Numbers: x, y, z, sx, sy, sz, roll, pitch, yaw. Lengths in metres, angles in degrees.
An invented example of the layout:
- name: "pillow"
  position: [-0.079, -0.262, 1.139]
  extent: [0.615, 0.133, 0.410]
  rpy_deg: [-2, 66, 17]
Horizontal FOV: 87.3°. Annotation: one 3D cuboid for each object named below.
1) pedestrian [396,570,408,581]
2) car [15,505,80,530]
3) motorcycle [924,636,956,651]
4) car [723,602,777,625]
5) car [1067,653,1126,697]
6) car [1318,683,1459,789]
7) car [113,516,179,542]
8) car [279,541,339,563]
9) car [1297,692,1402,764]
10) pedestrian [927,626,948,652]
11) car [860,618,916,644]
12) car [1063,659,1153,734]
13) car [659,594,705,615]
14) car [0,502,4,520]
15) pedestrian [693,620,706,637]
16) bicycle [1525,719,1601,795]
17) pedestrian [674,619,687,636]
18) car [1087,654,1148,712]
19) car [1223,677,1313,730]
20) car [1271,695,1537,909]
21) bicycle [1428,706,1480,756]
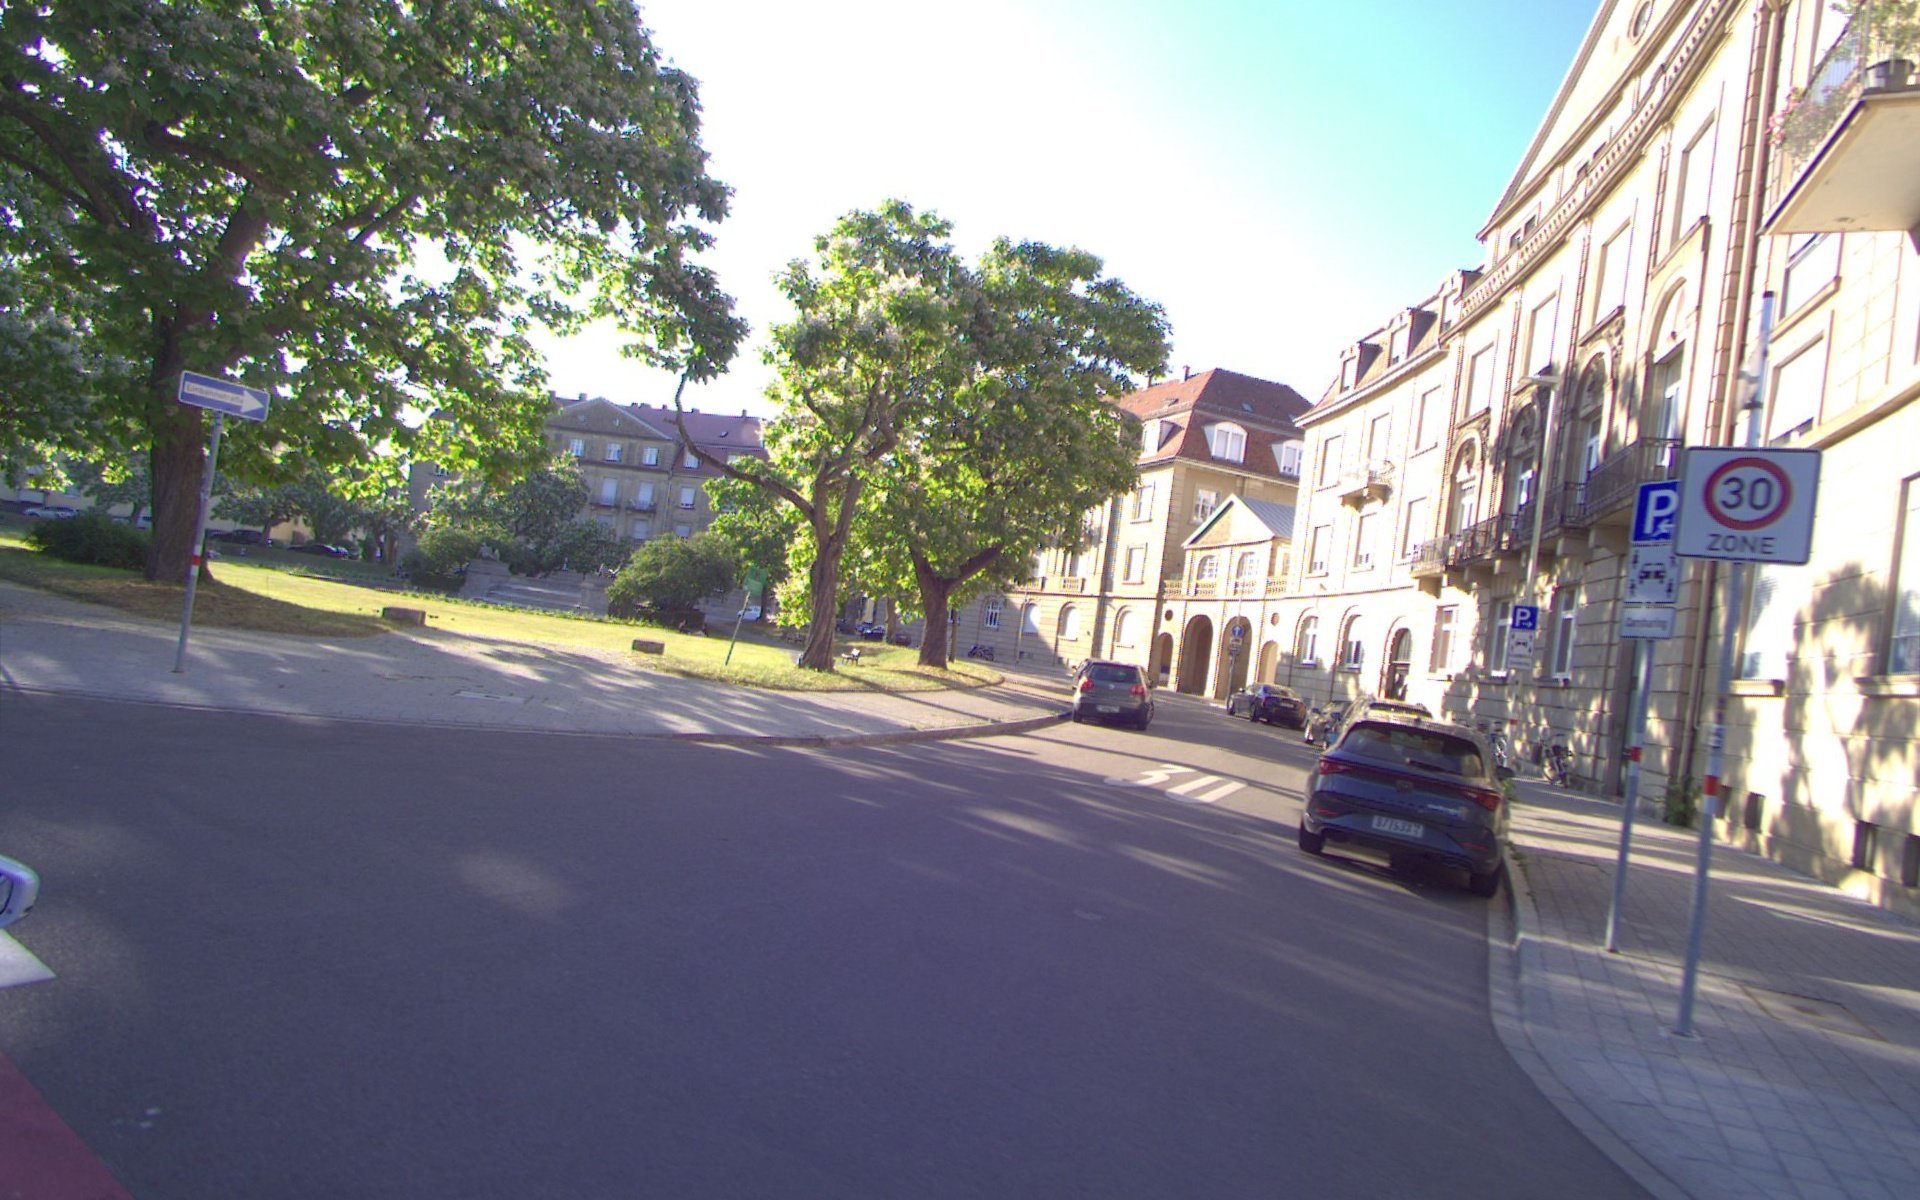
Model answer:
- name: "pedestrian"
  position: [-48.752, -2.138, 87.854]
  extent: [0.655, 0.803, 0.587]
  rpy_deg: [7, -1, 20]
- name: "car"
  position: [-81.831, -7.389, 90.288]
  extent: [3.960, 1.570, 1.598]
  rpy_deg: [8, -2, -32]
- name: "motorcycle"
  position: [-1.242, 2.644, 61.443]
  extent: [1.829, 0.678, 0.681]
  rpy_deg: [6, -2, 34]
- name: "car"
  position: [-18.250, 1.195, 87.451]
  extent: [4.877, 1.434, 1.813]
  rpy_deg: [6, -2, 39]
- name: "car"
  position: [5.539, 3.022, 41.272]
  extent: [1.785, 1.434, 4.375]
  rpy_deg: [7, -2, 2]
- name: "car"
  position: [8.651, 2.675, 20.689]
  extent: [1.768, 1.618, 4.459]
  rpy_deg: [7, -2, 14]
- name: "car"
  position: [-79.436, -6.928, 98.245]
  extent: [4.469, 1.766, 1.870]
  rpy_deg: [8, -2, -24]
- name: "car"
  position: [-62.845, -4.628, 97.135]
  extent: [4.292, 1.470, 1.879]
  rpy_deg: [8, -1, -7]
- name: "car"
  position: [9.866, 3.203, 25.797]
  extent: [1.476, 1.339, 4.459]
  rpy_deg: [7, -2, 10]
- name: "pedestrian"
  position: [-1.365, 2.385, 61.560]
  extent: [0.935, 1.492, 0.681]
  rpy_deg: [6, -1, 34]
- name: "car"
  position: [-5.357, 2.259, 74.467]
  extent: [1.803, 1.434, 4.906]
  rpy_deg: [8, -2, -34]
- name: "car"
  position: [3.692, 2.265, 24.456]
  extent: [1.810, 1.434, 4.372]
  rpy_deg: [7, -2, 11]
- name: "car"
  position: [-25.813, 0.393, 93.321]
  extent: [4.028, 1.434, 1.817]
  rpy_deg: [6, -2, 32]
- name: "car"
  position: [-90.554, -8.501, 91.888]
  extent: [4.494, 1.587, 1.860]
  rpy_deg: [9, -2, -40]
- name: "pedestrian"
  position: [-15.385, 1.671, 59.384]
  extent: [0.570, 0.891, 0.674]
  rpy_deg: [9, -2, -21]
- name: "bicycle"
  position: [12.695, 3.266, 21.266]
  extent: [0.602, 1.326, 2.260]
  rpy_deg: [7, -2, 14]
- name: "pedestrian"
  position: [-16.457, 1.617, 59.291]
  extent: [0.570, 0.891, 0.674]
  rpy_deg: [9, -2, -21]
- name: "car"
  position: [4.731, 2.450, 30.435]
  extent: [1.537, 1.434, 4.444]
  rpy_deg: [7, -2, 8]
- name: "car"
  position: [11.316, 3.782, 37.328]
  extent: [1.786, 1.434, 4.653]
  rpy_deg: [7, -2, 0]
- name: "car"
  position: [4.618, 1.836, 10.413]
  extent: [1.901, 1.435, 4.452]
  rpy_deg: [7, -2, 26]
- name: "bicycle"
  position: [14.537, 3.834, 29.665]
  extent: [0.602, 1.244, 2.126]
  rpy_deg: [7, -2, 7]
